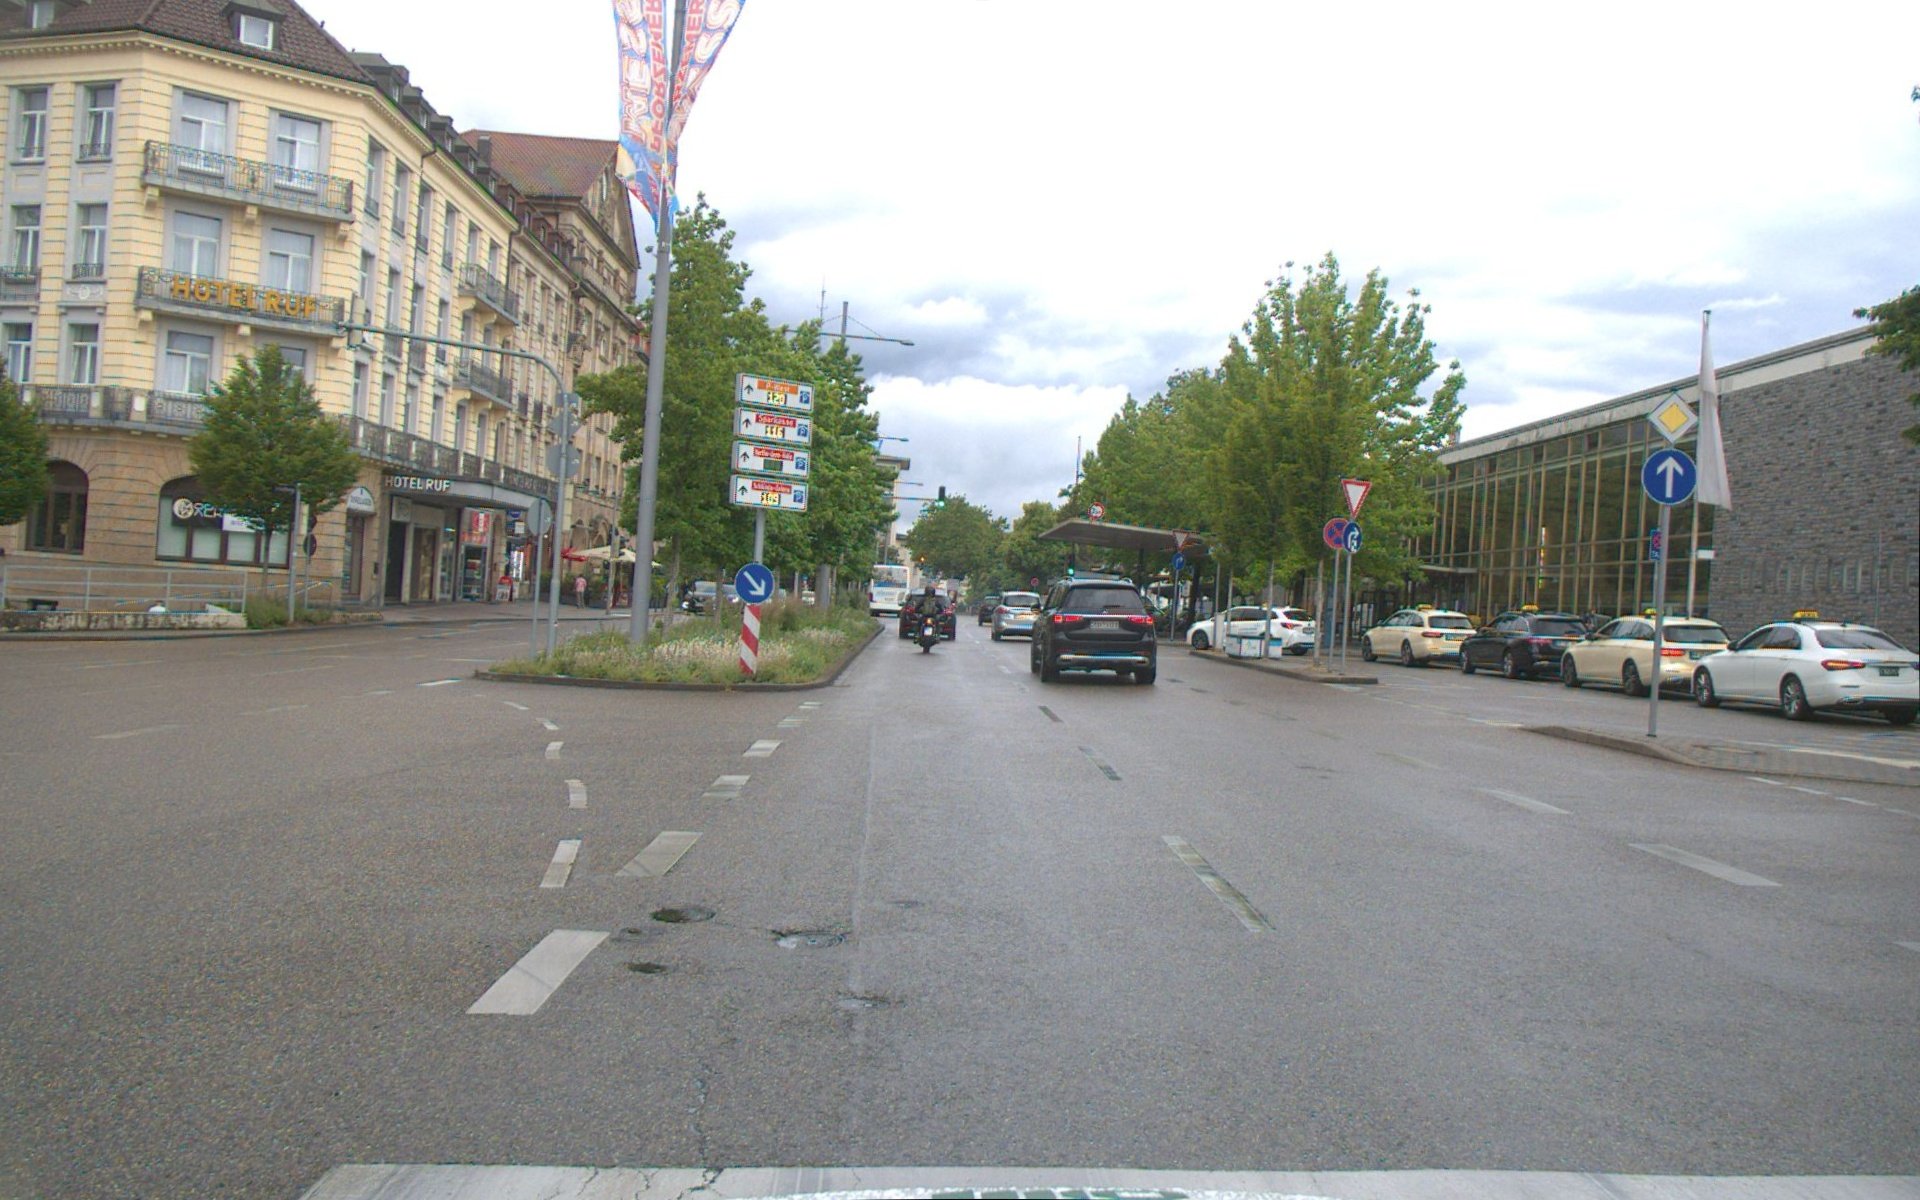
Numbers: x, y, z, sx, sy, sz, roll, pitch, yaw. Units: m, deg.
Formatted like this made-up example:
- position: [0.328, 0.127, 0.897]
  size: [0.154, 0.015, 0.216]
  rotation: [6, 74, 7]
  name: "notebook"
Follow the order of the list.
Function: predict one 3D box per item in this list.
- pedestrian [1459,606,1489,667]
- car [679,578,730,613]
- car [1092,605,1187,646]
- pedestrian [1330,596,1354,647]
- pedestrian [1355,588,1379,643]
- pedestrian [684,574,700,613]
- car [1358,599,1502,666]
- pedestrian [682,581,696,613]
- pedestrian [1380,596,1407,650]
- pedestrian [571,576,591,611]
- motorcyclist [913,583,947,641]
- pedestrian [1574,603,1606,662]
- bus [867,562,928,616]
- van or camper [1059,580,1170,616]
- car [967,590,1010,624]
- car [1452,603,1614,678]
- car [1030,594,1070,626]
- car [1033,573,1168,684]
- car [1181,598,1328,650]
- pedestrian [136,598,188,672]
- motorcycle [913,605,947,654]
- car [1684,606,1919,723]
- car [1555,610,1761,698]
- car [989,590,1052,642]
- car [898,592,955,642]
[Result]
- position: [14.833, 1.044, 47.729]
  size: [0.553, 1.739, 0.715]
  rotation: [1, 0, -6]
  name: "pedestrian"
- position: [-11.902, -0.227, 77.202]
  size: [1.735, 1.557, 4.078]
  rotation: [1, 0, -1]
  name: "car"
- position: [8.948, 1.266, 82.393]
  size: [4.273, 1.890, 1.988]
  rotation: [2, 0, -21]
  name: "car"
- position: [15.627, 0.884, 67.669]
  size: [0.754, 2.049, 0.828]
  rotation: [1, 0, -3]
  name: "pedestrian"
- position: [18.172, 0.684, 73.916]
  size: [0.825, 2.453, 0.862]
  rotation: [1, 0, 1]
  name: "pedestrian"
- position: [-14.331, -0.361, 88.434]
  size: [0.742, 2.049, 0.832]
  rotation: [2, 0, -7]
  name: "pedestrian"
- position: [12.550, 0.833, 44.474]
  size: [1.956, 1.628, 4.814]
  rotation: [1, 0, -8]
  name: "car"
- position: [-14.527, -0.155, 88.635]
  size: [0.661, 1.731, 0.633]
  rotation: [1, 0, -1]
  name: "pedestrian"
- position: [16.696, 0.880, 63.748]
  size: [0.754, 2.049, 0.828]
  rotation: [1, 0, -3]
  name: "pedestrian"
- position: [-16.704, -0.273, 72.874]
  size: [0.656, 1.537, 0.512]
  rotation: [1, 0, -39]
  name: "pedestrian"
- position: [-0.709, 0.279, 39.338]
  size: [0.749, 1.355, 0.866]
  rotation: [2, 0, -1]
  name: "motorcyclist"
- position: [18.106, 0.936, 47.554]
  size: [0.553, 1.675, 0.715]
  rotation: [1, 0, -6]
  name: "pedestrian"
- position: [-4.212, -0.718, 110.896]
  size: [3.685, 3.265, 15.518]
  rotation: [1, 0, -2]
  name: "bus"
- position: [9.668, -0.128, 103.105]
  size: [6.675, 2.049, 2.364]
  rotation: [1, -1, -27]
  name: "van or camper"
- position: [1.393, 0.321, 82.007]
  size: [1.775, 1.609, 3.900]
  rotation: [2, 0, -4]
  name: "car"
- position: [13.050, 0.870, 37.997]
  size: [1.875, 1.551, 4.740]
  rotation: [1, 0, -3]
  name: "car"
- position: [4.627, 0.503, 85.458]
  size: [1.779, 1.557, 3.999]
  rotation: [1, 0, -1]
  name: "car"
- position: [2.474, 0.465, 30.243]
  size: [1.953, 1.837, 4.689]
  rotation: [1, 0, -1]
  name: "car"
- position: [9.072, 0.718, 51.131]
  size: [1.764, 1.409, 4.303]
  rotation: [4, -2, -41]
  name: "car"
- position: [-21.149, 0.916, 43.848]
  size: [0.845, 1.911, 1.022]
  rotation: [2, 0, -1]
  name: "pedestrian"
- position: [-0.706, 0.673, 39.130]
  size: [0.750, 1.095, 2.175]
  rotation: [2, 0, -1]
  name: "motorcycle"
- position: [13.368, 0.938, 26.060]
  size: [1.739, 1.617, 4.614]
  rotation: [1, 0, -2]
  name: "car"
- position: [13.242, 0.979, 31.714]
  size: [1.809, 1.477, 4.664]
  rotation: [1, 0, -2]
  name: "car"
- position: [1.951, 0.490, 54.023]
  size: [1.813, 1.594, 3.999]
  rotation: [1, 0, -1]
  name: "car"
- position: [-1.031, 0.498, 51.723]
  size: [1.673, 1.473, 3.999]
  rotation: [1, 0, -1]
  name: "car"
